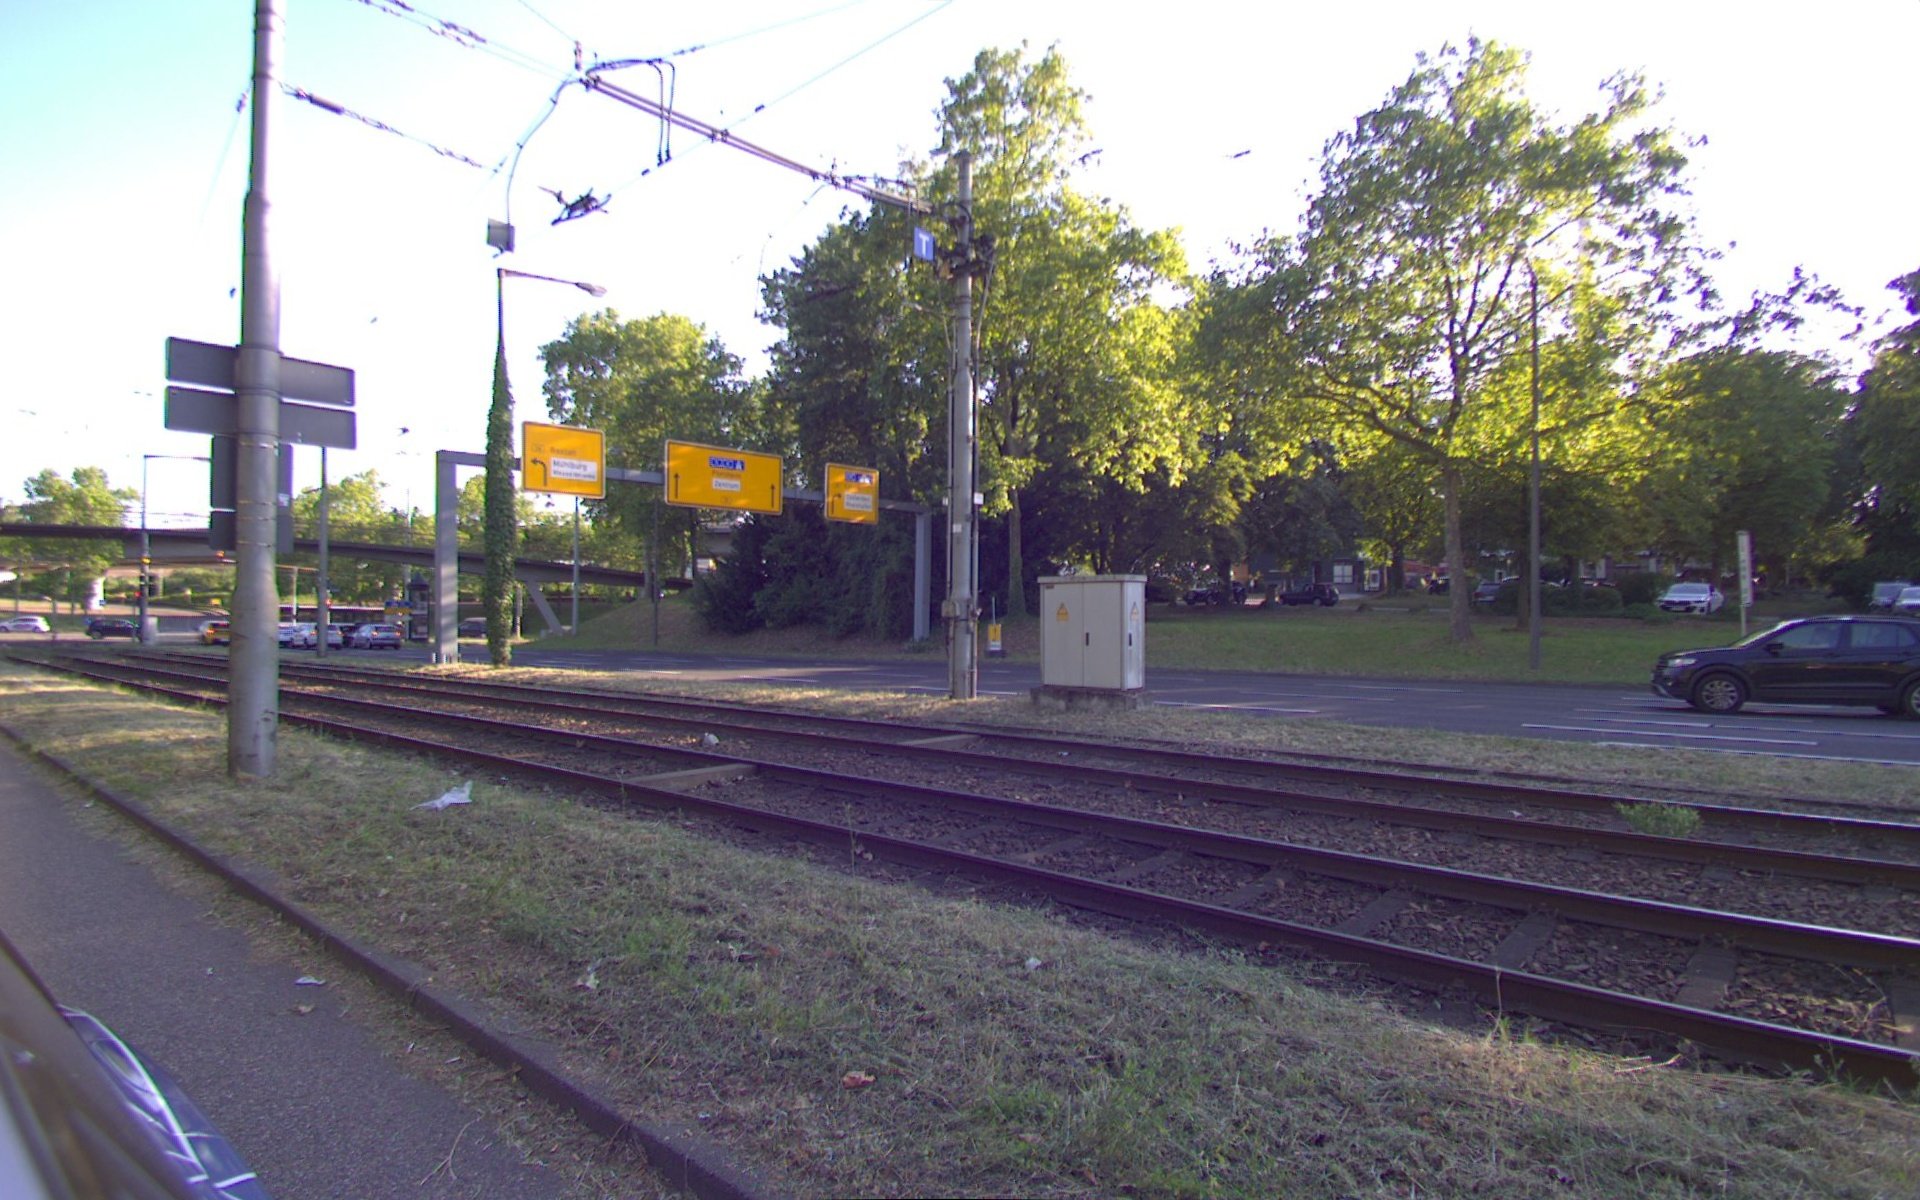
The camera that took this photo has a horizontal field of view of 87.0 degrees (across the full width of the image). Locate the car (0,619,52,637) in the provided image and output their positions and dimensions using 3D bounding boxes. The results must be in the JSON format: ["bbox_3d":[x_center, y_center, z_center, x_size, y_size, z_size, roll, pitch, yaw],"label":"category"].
[{"bbox_3d":[-83.798,2.499,90.518,3.593,1.523,1.668,-1,0,-29],"label":"car"}]

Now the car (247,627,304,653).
[{"bbox_3d":[-40.581,2.340,59.961,4.226,1.435,1.893,-1,-1,42],"label":"car"}]

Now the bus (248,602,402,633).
[{"bbox_3d":[-63.559,1.690,101.809,12.966,2.884,2.425,-1,0,-28],"label":"bus"}]

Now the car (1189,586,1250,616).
[{"bbox_3d":[15.388,0.057,59.964,1.791,1.657,3.942,-1,-1,44],"label":"car"}]

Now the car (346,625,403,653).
[{"bbox_3d":[-34.981,2.298,60.431,3.998,1.556,1.789,-1,-1,41],"label":"car"}]

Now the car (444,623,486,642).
[{"bbox_3d":[-50.812,3.324,103.938,3.748,1.872,1.682,-1,0,-30],"label":"car"}]

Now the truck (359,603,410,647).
[{"bbox_3d":[-40.310,1.744,70.774,2.248,2.901,6.895,0,-1,-37],"label":"truck"}]

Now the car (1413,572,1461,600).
[{"bbox_3d":[33.548,-1.002,71.069,2.290,1.864,5.214,-1,1,34],"label":"car"}]

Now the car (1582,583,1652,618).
[{"bbox_3d":[30.028,0.000,46.228,1.942,1.521,4.039,0,0,44],"label":"car"}]

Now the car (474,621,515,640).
[{"bbox_3d":[-49.929,3.274,108.648,3.832,1.872,1.682,-1,0,-30],"label":"car"}]

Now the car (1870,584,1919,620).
[{"bbox_3d":[43.962,0.086,47.234,3.998,1.628,1.864,-1,0,-43],"label":"car"}]

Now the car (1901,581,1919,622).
[{"bbox_3d":[37.573,0.028,38.901,1.942,1.521,4.039,0,0,44],"label":"car"}]

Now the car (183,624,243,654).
[{"bbox_3d":[-40.811,2.128,55.262,3.997,1.556,1.744,-1,-1,40],"label":"car"}]

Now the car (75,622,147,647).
[{"bbox_3d":[-62.239,2.534,74.268,3.934,1.668,1.789,-1,0,-36],"label":"car"}]

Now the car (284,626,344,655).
[{"bbox_3d":[-35.748,2.208,55.963,3.997,1.556,1.744,-1,-1,40],"label":"car"}]

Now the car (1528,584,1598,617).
[{"bbox_3d":[28.418,0.009,47.665,1.942,1.521,4.039,0,0,44],"label":"car"}]

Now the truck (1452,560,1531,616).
[{"bbox_3d":[31.735,-0.696,60.292,2.503,3.191,6.137,0,0,45],"label":"truck"}]

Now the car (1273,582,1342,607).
[{"bbox_3d":[21.492,-0.338,62.686,1.650,1.474,3.727,-1,1,-44],"label":"car"}]

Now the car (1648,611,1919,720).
[{"bbox_3d":[13.362,0.985,15.930,3.953,1.569,1.741,-1,-2,28],"label":"car"}]

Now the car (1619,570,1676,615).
[{"bbox_3d":[36.878,-0.408,54.247,2.161,2.320,4.348,0,0,40],"label":"car"}]

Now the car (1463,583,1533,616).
[{"bbox_3d":[26.163,-0.050,49.193,1.942,1.521,4.039,0,0,44],"label":"car"}]

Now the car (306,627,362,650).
[{"bbox_3d":[-39.770,2.422,64.235,4.224,1.435,1.844,-1,-1,40],"label":"car"}]

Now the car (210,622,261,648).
[{"bbox_3d":[-45.845,2.188,64.050,4.228,1.561,1.892,-1,-2,44],"label":"car"}]

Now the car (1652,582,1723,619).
[{"bbox_3d":[31.554,-0.004,43.852,1.942,1.521,4.039,0,0,44],"label":"car"}]
